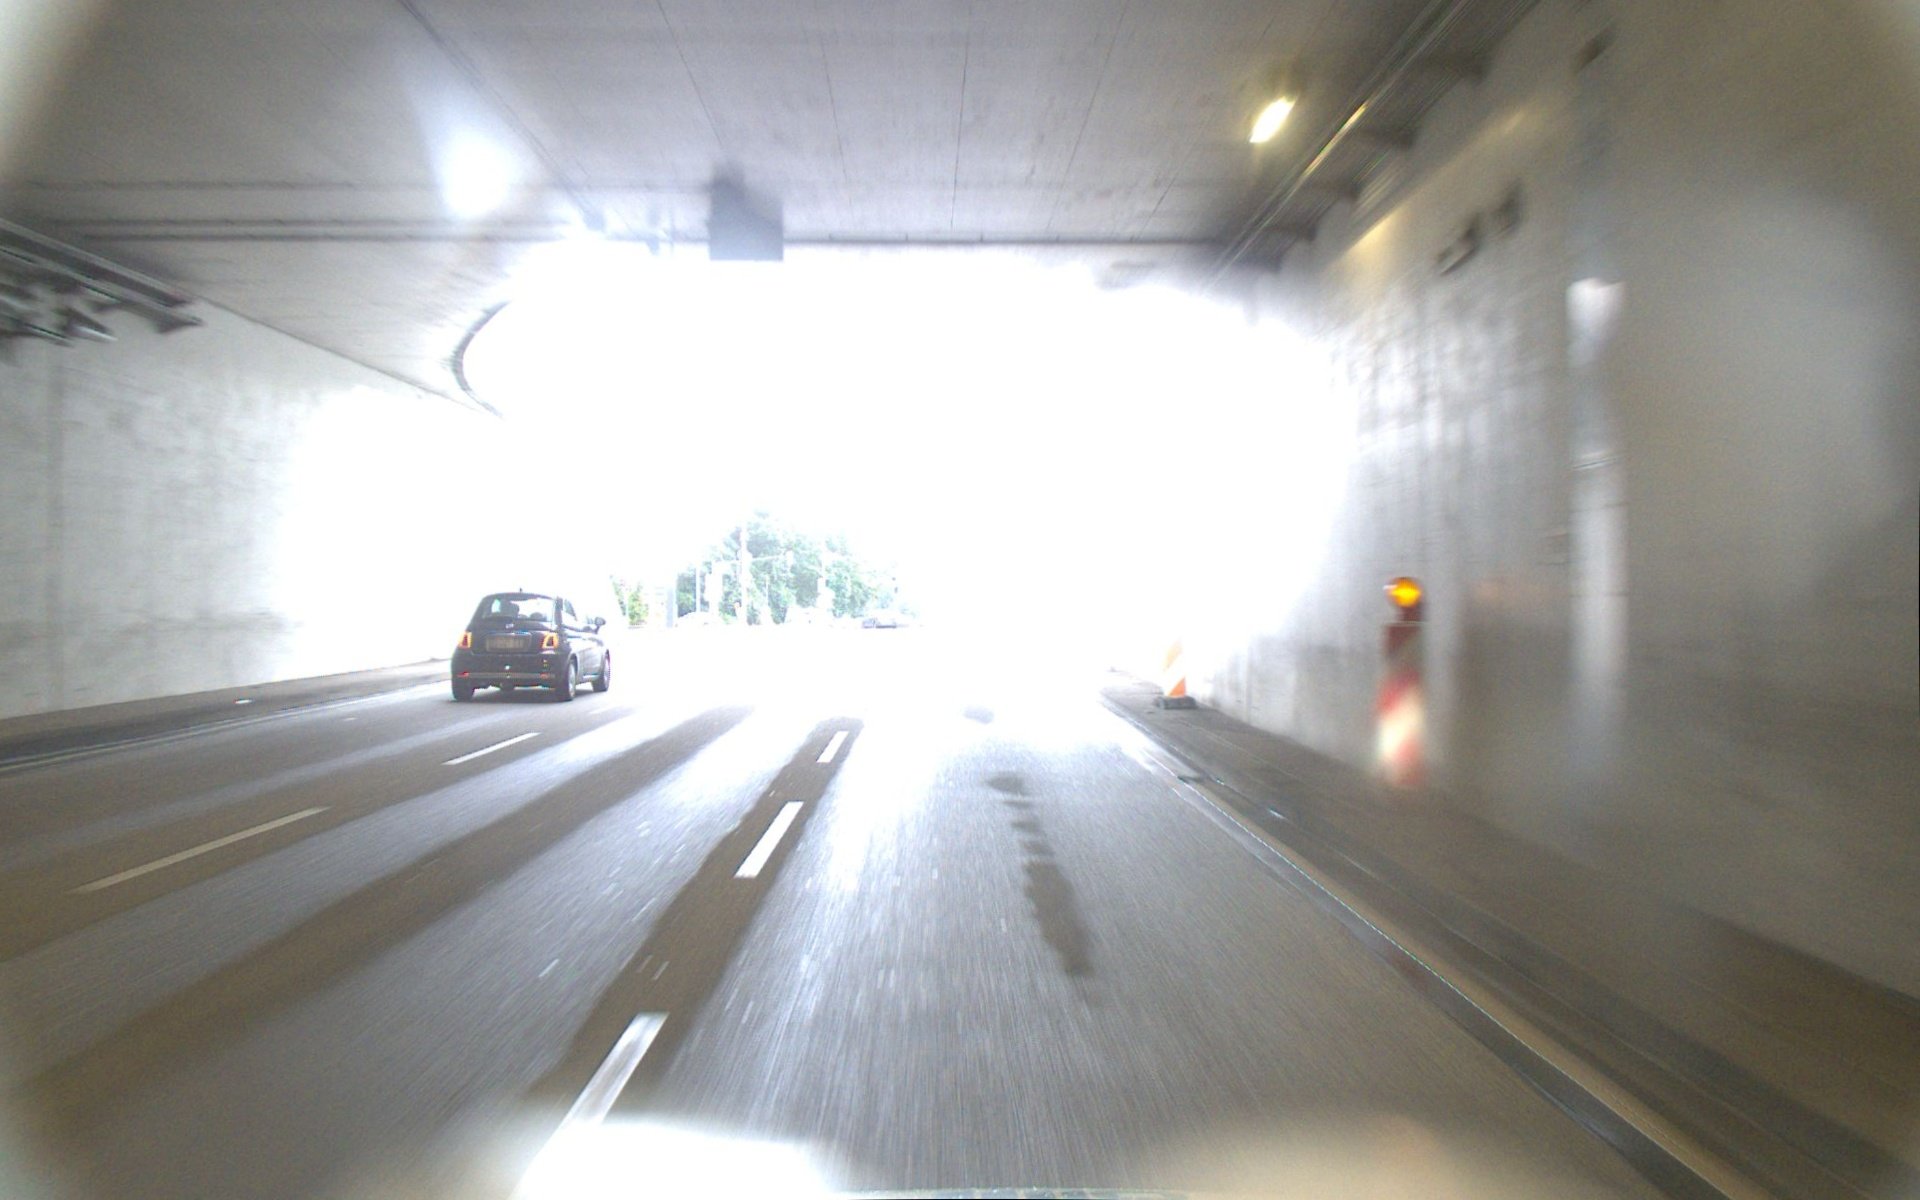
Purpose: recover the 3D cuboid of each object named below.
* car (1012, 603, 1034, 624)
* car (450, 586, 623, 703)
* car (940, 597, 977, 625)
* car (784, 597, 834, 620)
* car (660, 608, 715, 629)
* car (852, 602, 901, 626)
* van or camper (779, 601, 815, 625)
[{"bbox_3d":[6.100,1.338,161.218,1.953,2.049,3.999,0,-1,-1],"label":"car"},{"bbox_3d":[-5.906,0.571,23.458,1.579,1.479,3.572,-1,1,-1],"label":"car"},{"bbox_3d":[-0.117,0.616,90.617,1.953,1.473,4.313,-1,-1,-1],"label":"car"},{"bbox_3d":[-11.619,0.631,126.940,1.880,1.713,3.942,-2,1,-40],"label":"car"},{"bbox_3d":[-21.926,1.492,133.115,3.905,1.540,1.898,-1,1,22],"label":"car"},{"bbox_3d":[-6.037,0.991,119.439,1.874,1.713,3.956,0,0,-32],"label":"car"},{"bbox_3d":[-14.501,1.165,147.613,2.083,2.049,5.318,-1,-1,6],"label":"van or camper"}]
